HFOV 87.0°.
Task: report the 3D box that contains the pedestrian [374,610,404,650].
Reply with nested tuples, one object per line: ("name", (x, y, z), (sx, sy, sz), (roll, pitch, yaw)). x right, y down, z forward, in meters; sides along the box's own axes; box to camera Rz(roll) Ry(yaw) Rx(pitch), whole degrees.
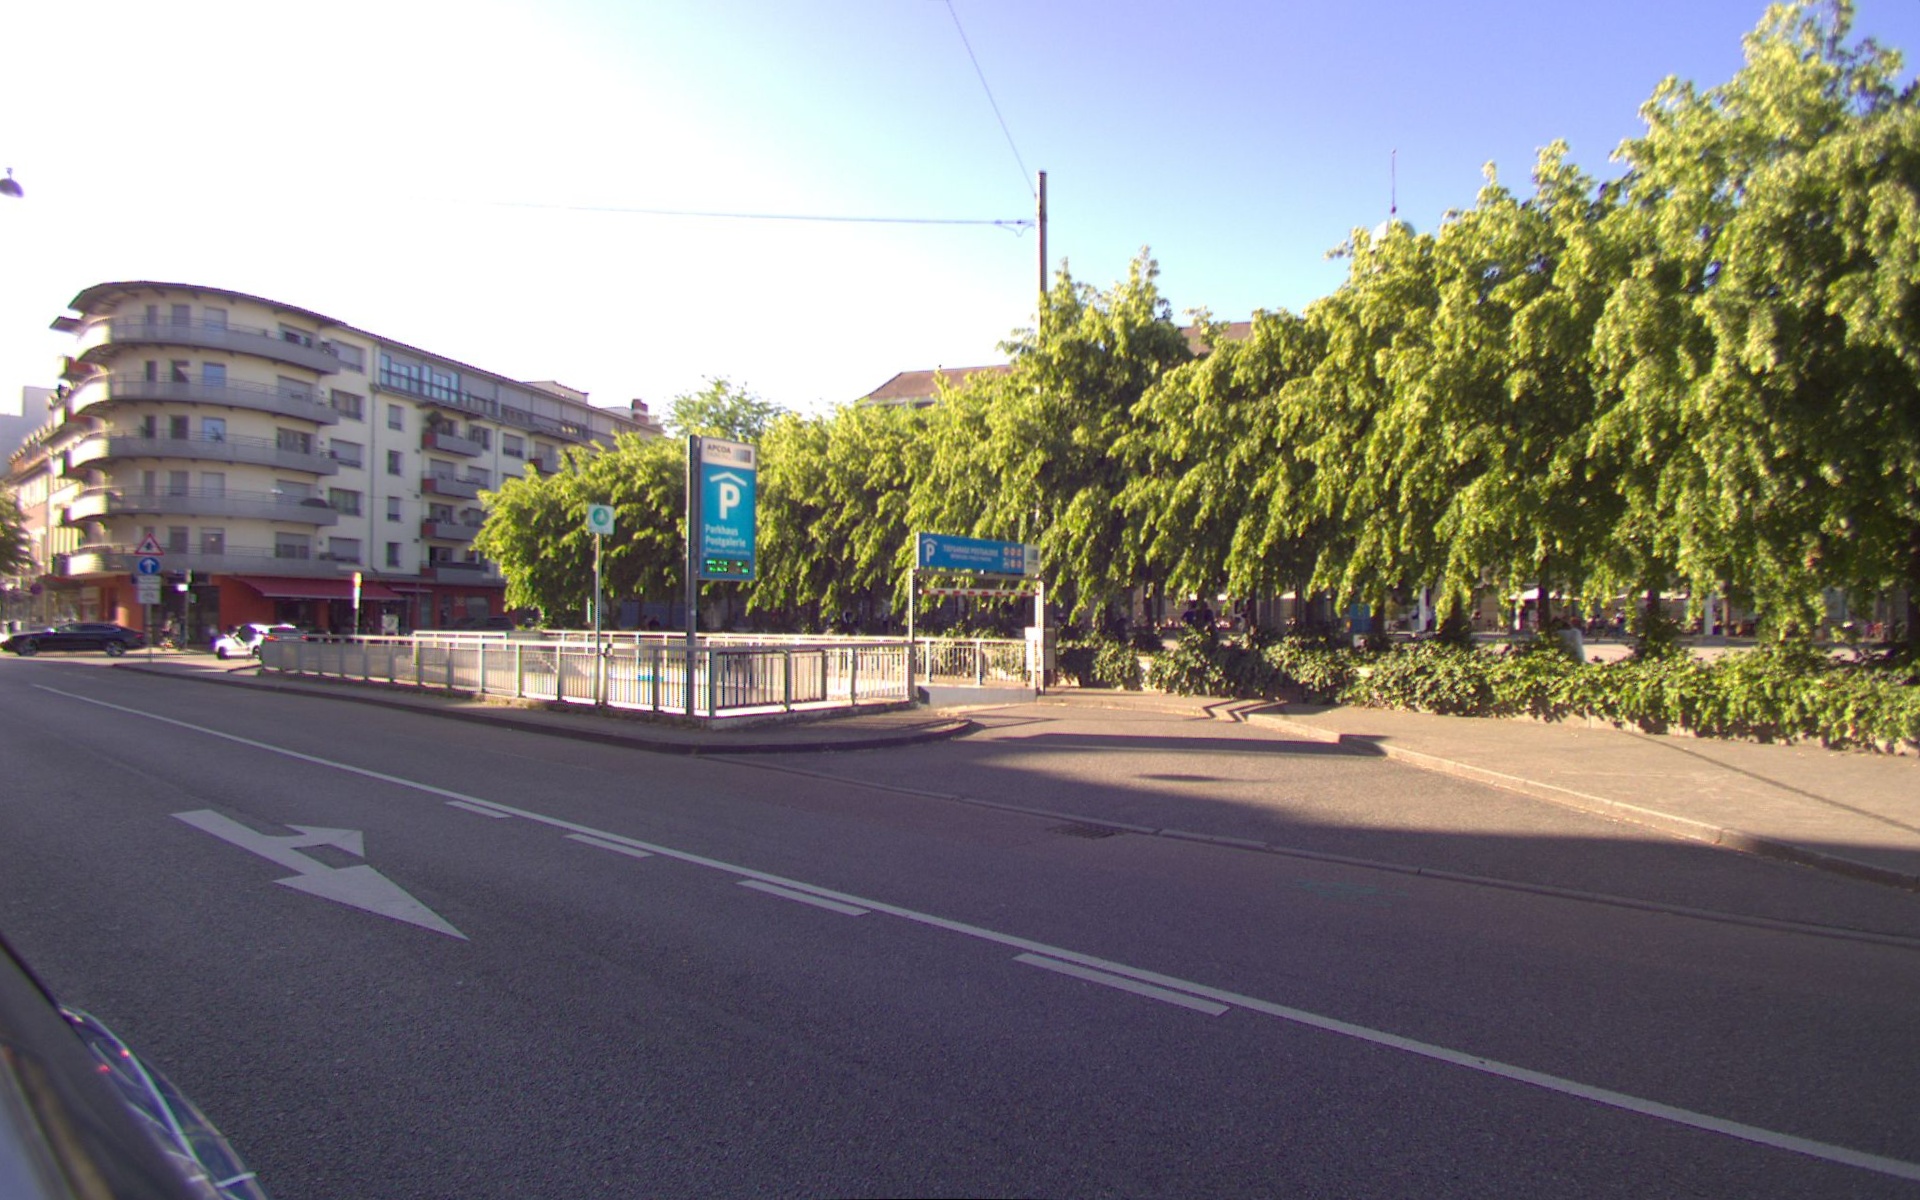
("pedestrian", (-29.792, 1.546, 52.826), (1.296, 2.029, 1.299), (0, -1, -28))

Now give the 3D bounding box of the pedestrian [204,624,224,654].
("pedestrian", (-37.728, 1.976, 51.196), (0.780, 1.472, 0.583), (0, -1, -40))

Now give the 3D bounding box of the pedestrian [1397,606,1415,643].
("pedestrian", (24.055, 1.313, 54.602), (0.751, 1.948, 0.938), (-1, -1, 20))

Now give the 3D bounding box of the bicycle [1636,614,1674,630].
("bicycle", (44.167, 1.400, 64.348), (1.892, 0.961, 0.585), (-1, -1, 20))

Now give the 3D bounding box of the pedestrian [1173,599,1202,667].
("pedestrian", (5.770, 0.829, 25.662), (0.672, 1.683, 0.843), (-1, -1, 13))

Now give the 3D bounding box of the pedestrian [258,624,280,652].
("pedestrian", (-36.725, 2.013, 53.766), (0.782, 1.473, 0.582), (0, -1, 3))

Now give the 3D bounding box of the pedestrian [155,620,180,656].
("pedestrian", (-38.117, 1.830, 48.656), (0.692, 1.719, 0.672), (-1, -1, 12))

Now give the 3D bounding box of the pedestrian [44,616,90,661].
("pedestrian", (-40.745, 1.746, 46.189), (1.008, 2.029, 1.198), (-1, 0, 4))

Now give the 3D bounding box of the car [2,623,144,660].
("car", (-36.070, 1.657, 41.319), (4.219, 1.394, 2.004), (0, -1, -37))

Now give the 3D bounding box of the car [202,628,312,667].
("car", (-27.864, 1.861, 40.089), (4.228, 1.445, 1.787), (-1, -1, 26))

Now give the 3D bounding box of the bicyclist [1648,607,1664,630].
("bicyclist", (44.227, 1.163, 64.316), (0.693, 1.439, 0.669), (-1, -1, 21))

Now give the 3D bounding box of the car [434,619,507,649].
("car", (-30.515, 2.117, 63.198), (1.983, 1.763, 3.977), (-1, -1, 17))

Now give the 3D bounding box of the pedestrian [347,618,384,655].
("pedestrian", (-32.603, 1.987, 55.486), (1.251, 2.029, 1.226), (-1, -1, 19))

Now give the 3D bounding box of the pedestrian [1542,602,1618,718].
("pedestrian", (9.777, 0.921, 15.969), (0.885, 1.771, 0.738), (0, -1, -39))

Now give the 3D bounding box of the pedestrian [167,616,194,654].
("pedestrian", (-37.921, 1.715, 49.252), (0.746, 1.819, 0.755), (-1, -1, -1))
